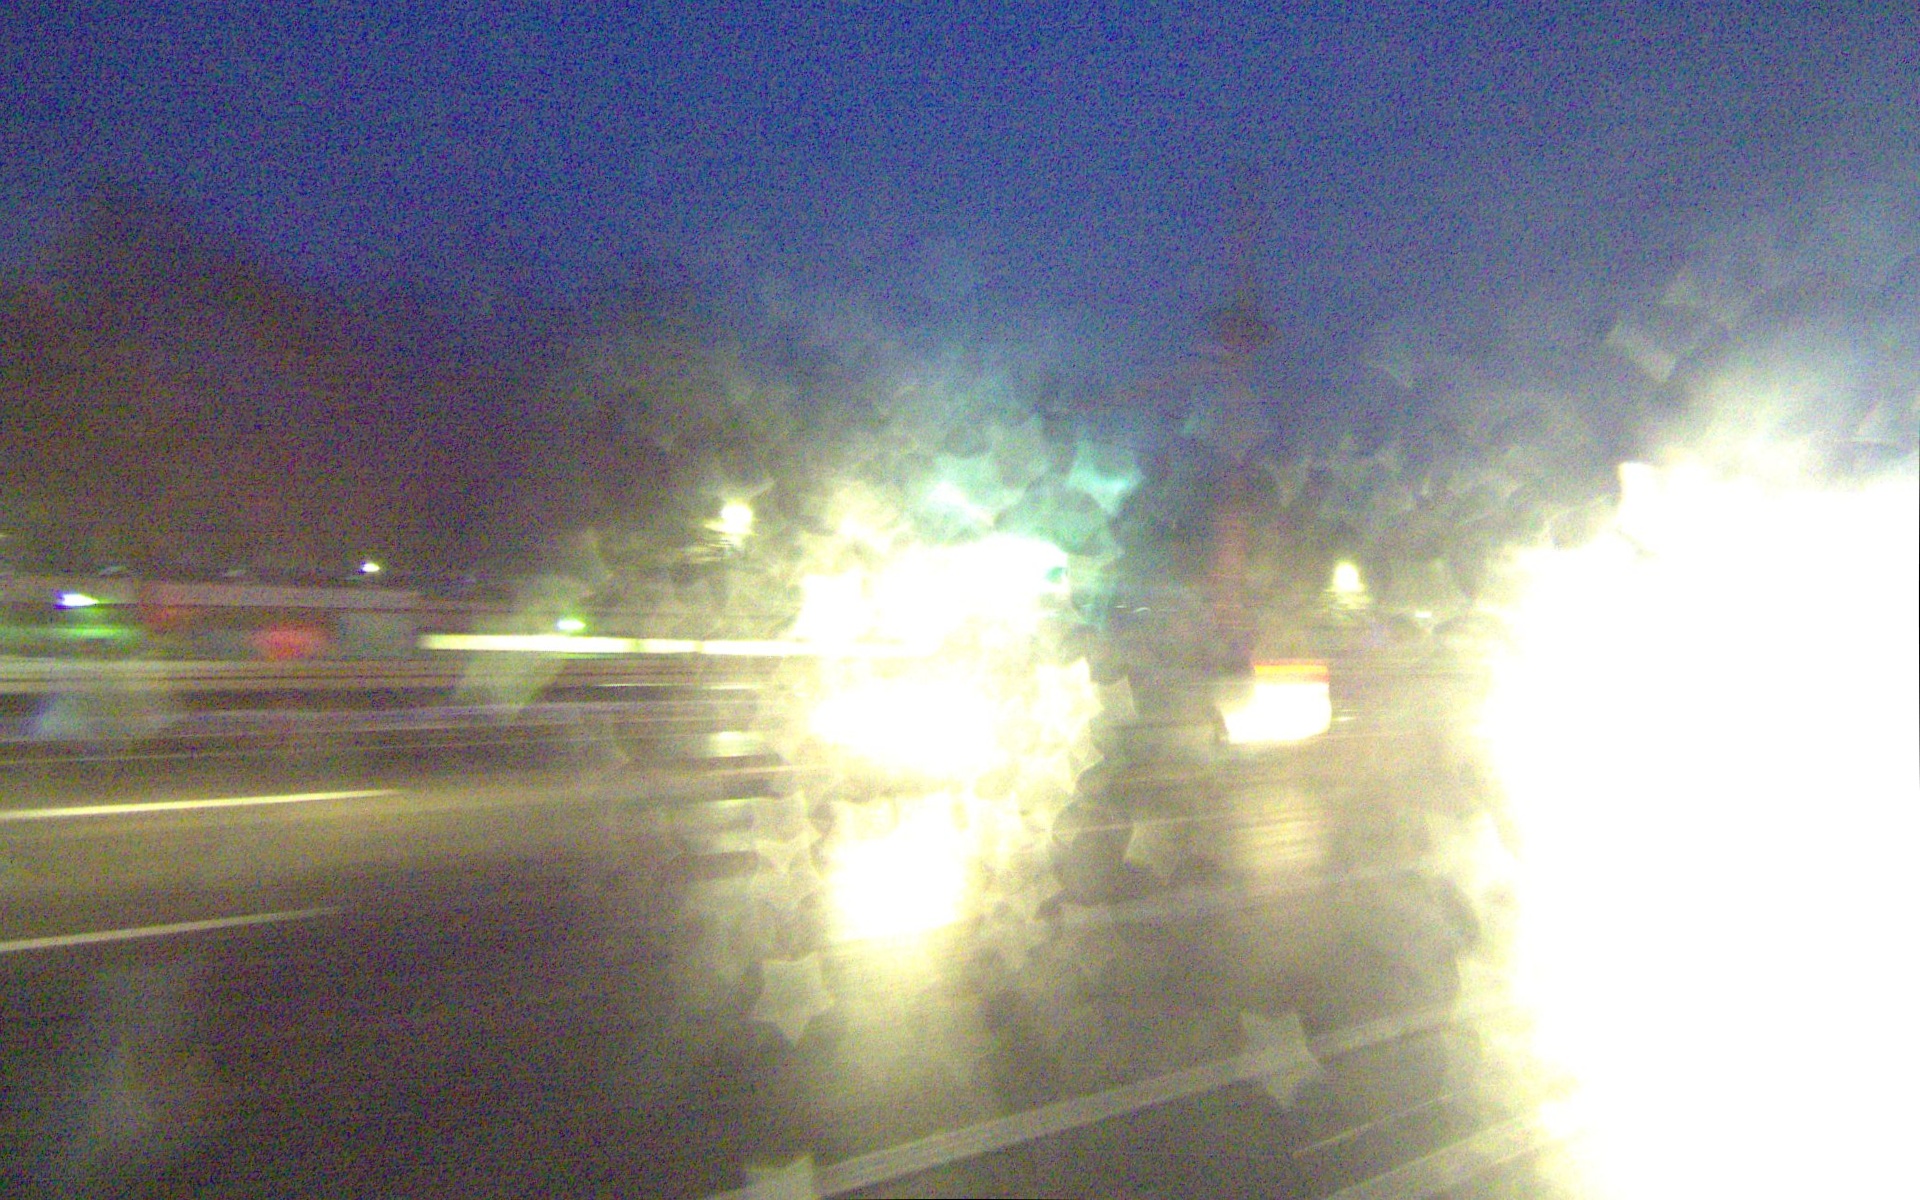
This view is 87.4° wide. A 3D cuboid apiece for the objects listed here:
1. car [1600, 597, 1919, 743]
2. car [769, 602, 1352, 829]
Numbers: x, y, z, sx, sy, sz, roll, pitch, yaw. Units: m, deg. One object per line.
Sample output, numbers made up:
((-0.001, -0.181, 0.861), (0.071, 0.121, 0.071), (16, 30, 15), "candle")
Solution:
((12.191, 0.968, 15.057), (5.250, 1.889, 1.986), (2, 0, -27), "car")
((0.941, 0.859, 8.977), (4.834, 1.563, 2.076), (2, -1, -27), "car")
